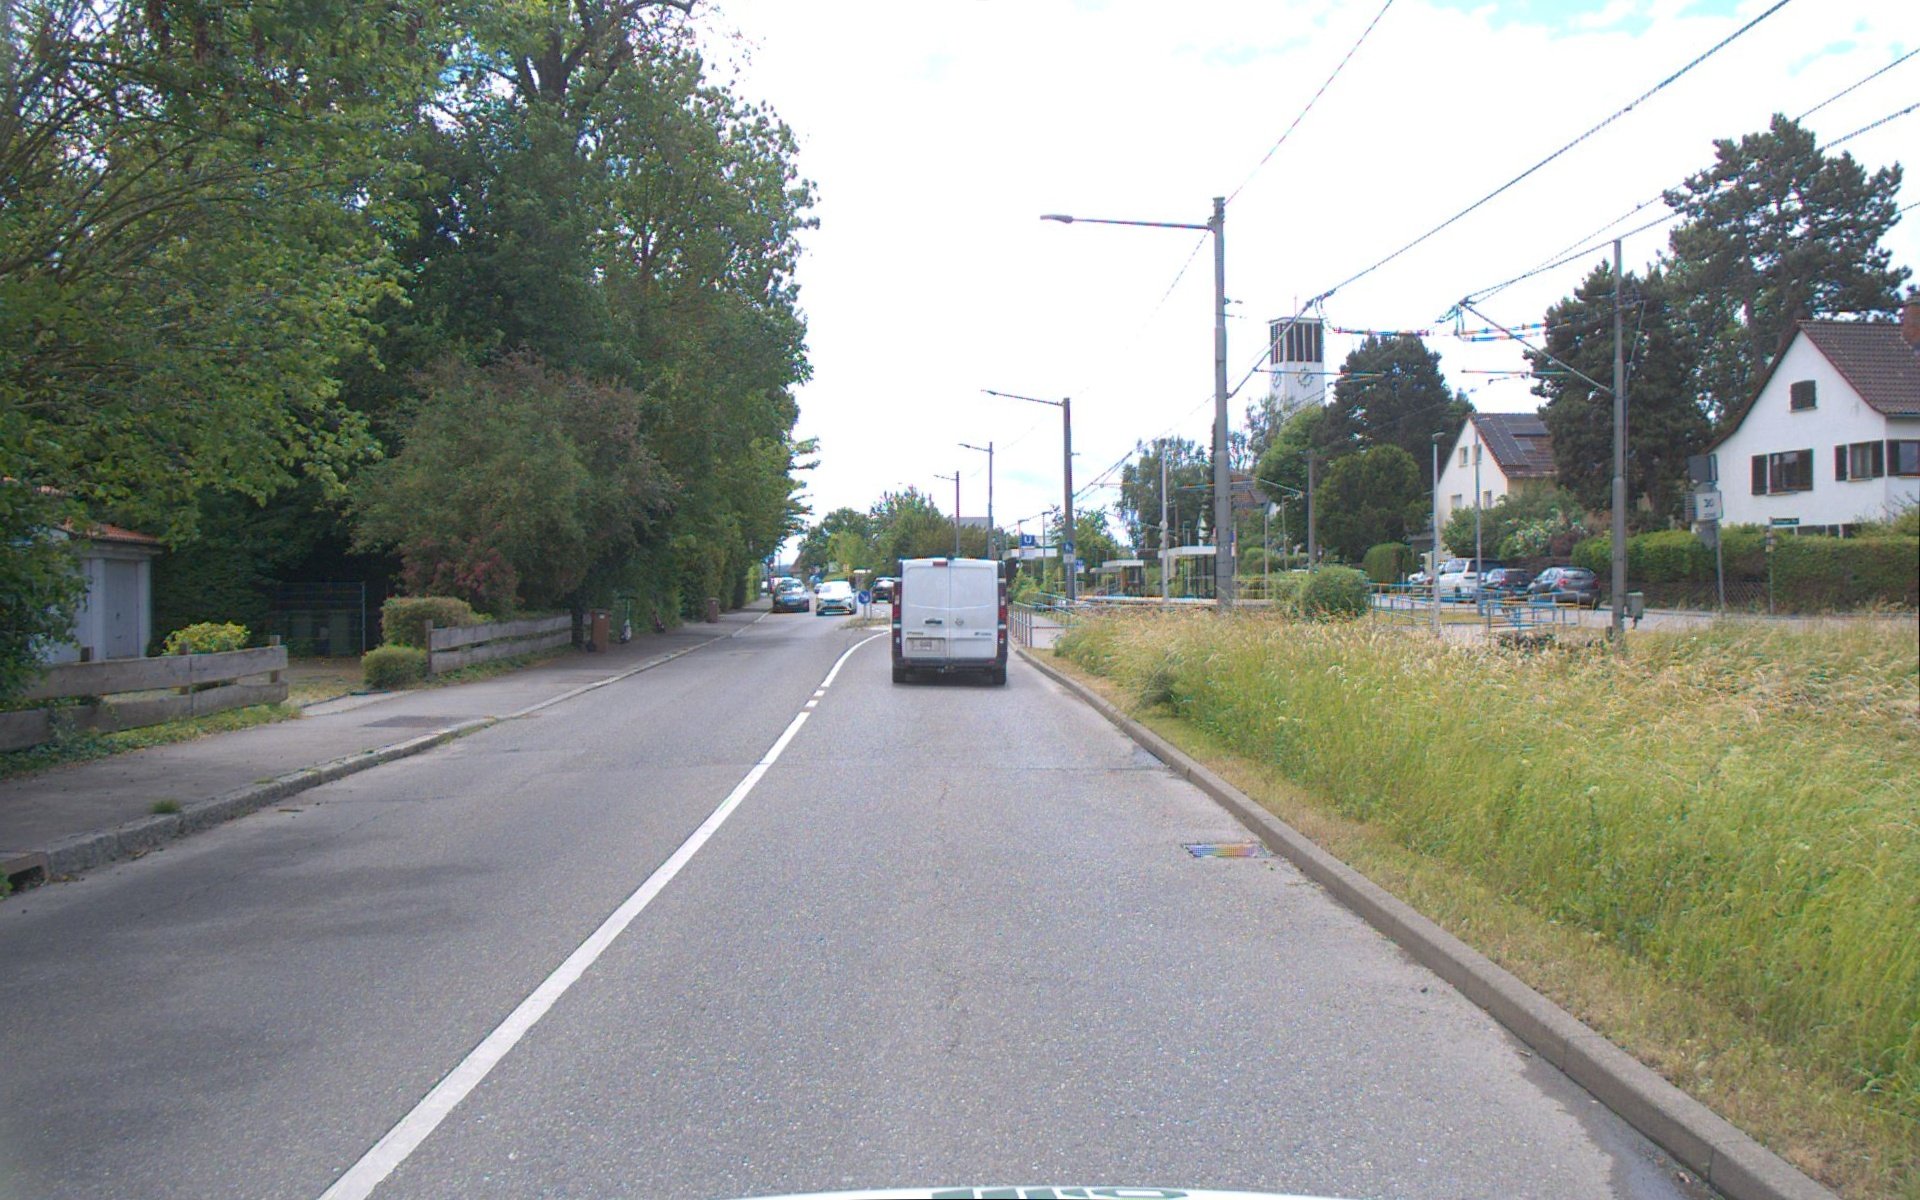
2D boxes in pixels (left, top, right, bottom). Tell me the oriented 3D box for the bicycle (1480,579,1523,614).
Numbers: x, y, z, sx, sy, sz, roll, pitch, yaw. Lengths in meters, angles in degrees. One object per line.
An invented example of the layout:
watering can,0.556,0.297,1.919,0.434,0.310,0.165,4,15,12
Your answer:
bicycle,16.861,-0.118,51.537,0.527,1.063,2.540,-1,1,0

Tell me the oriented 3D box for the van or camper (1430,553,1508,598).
van or camper,22.116,-1.063,72.049,1.866,1.857,5.048,-1,1,0

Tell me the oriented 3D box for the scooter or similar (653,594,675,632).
scooter or similar,-8.972,0.390,50.062,0.470,1.100,1.207,0,0,-19

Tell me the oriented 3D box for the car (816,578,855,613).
car,-5.591,-0.206,74.255,1.660,1.455,3.784,-3,1,-4

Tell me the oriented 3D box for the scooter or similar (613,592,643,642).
scooter or similar,-8.398,0.416,41.833,0.400,1.220,1.639,-1,0,0

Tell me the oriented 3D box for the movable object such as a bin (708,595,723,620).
movable object such as a bin,-9.426,0.273,63.794,0.455,0.946,0.428,3,-1,-18

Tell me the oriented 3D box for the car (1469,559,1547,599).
car,22.161,-0.848,67.050,1.845,1.548,4.000,-1,1,0

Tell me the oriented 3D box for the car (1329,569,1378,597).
car,22.279,-0.954,93.706,1.845,1.548,4.000,-1,1,0

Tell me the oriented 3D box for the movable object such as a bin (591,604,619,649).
movable object such as a bin,-7.805,0.584,36.359,0.503,0.961,0.568,1,0,-1

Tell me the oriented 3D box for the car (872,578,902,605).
car,-4.707,-0.534,106.477,1.815,1.677,3.732,-1,1,-3

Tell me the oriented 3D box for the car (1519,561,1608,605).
car,22.249,-0.623,61.090,1.845,1.548,4.000,-1,1,0

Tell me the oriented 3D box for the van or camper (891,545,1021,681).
van or camper,-0.063,0.196,27.410,1.953,2.049,4.445,1,0,0

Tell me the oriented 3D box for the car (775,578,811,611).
car,-8.416,-0.293,83.134,1.704,1.531,4.471,-2,1,-7
